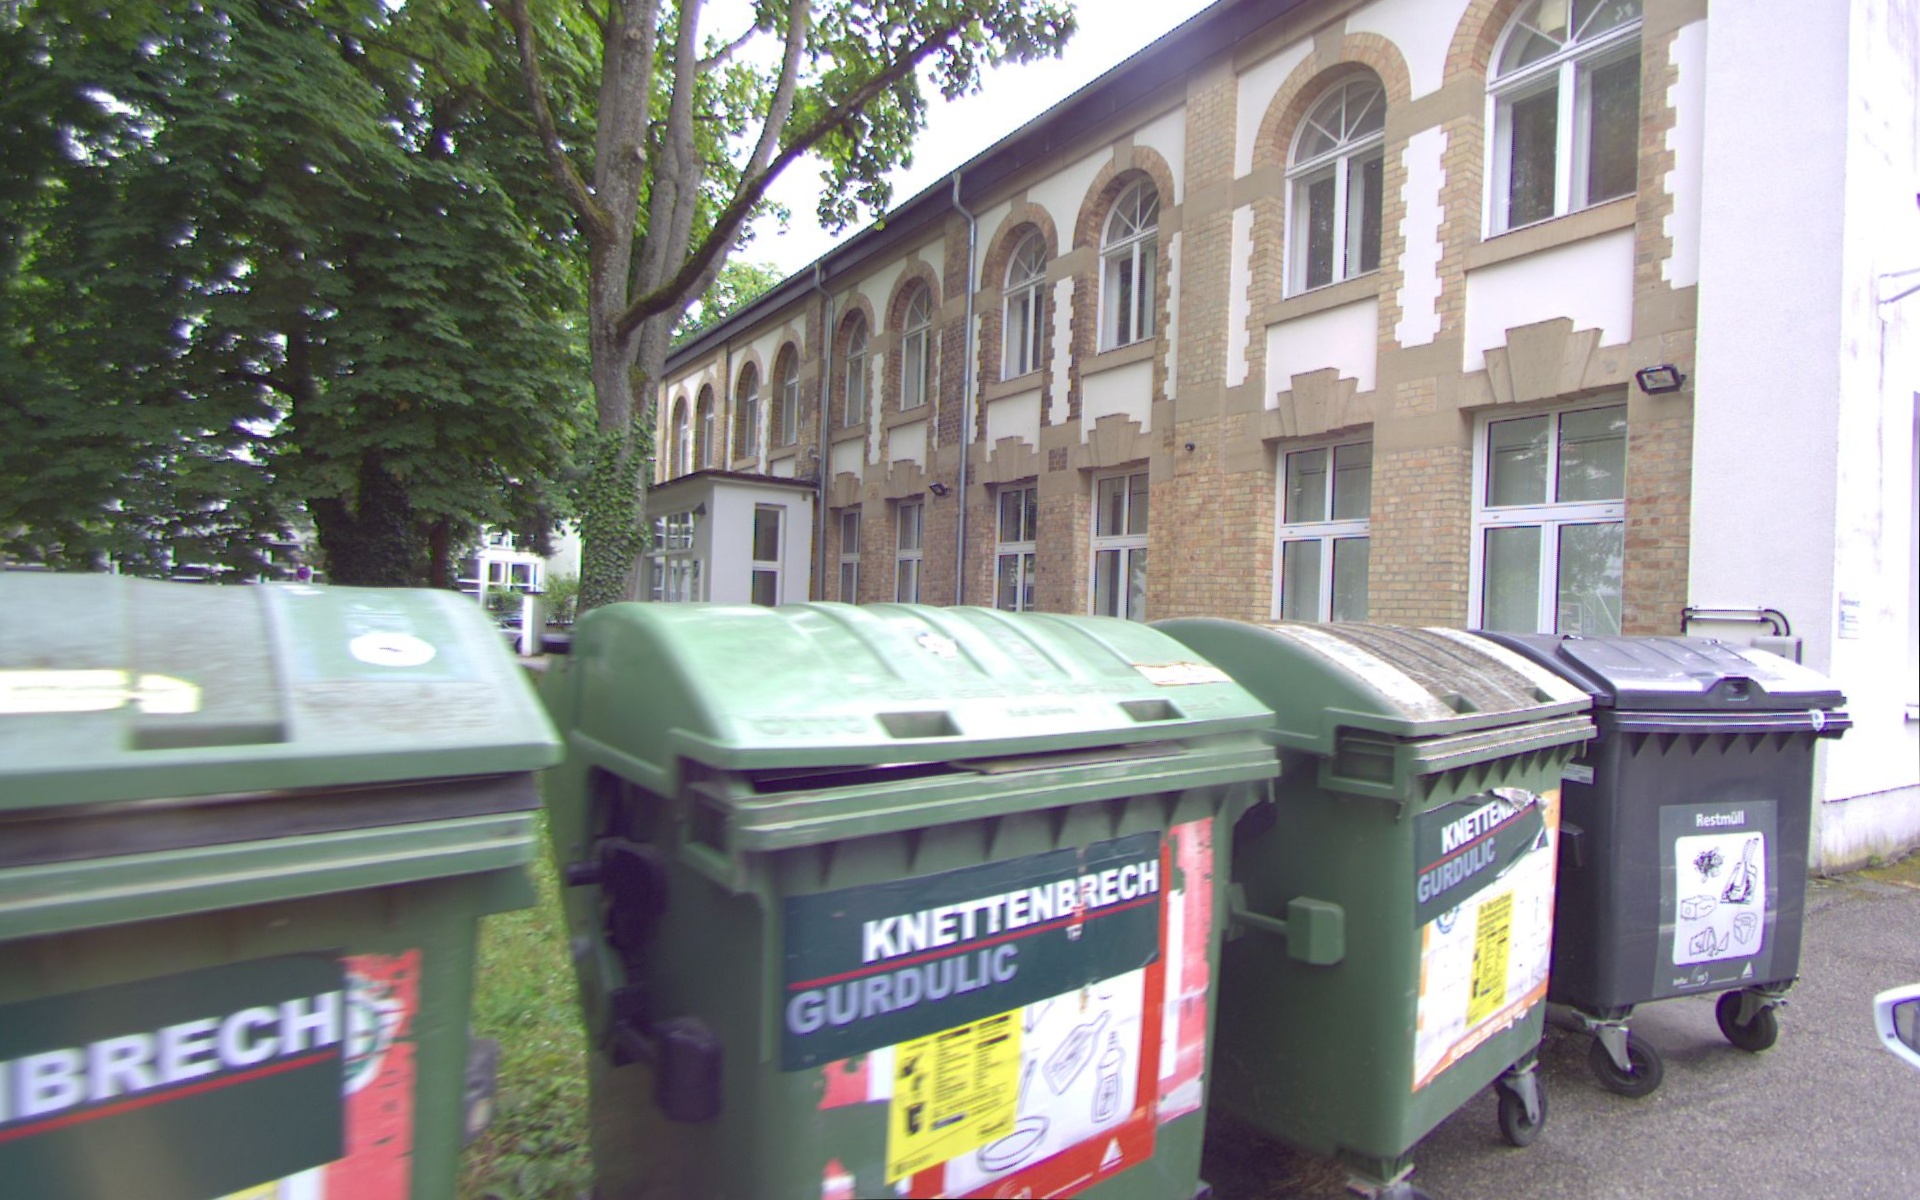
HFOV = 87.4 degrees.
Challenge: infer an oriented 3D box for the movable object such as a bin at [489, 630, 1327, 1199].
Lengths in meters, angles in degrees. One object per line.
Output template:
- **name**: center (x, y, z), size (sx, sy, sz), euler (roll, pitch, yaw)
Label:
- **movable object such as a bin**: center (-0.095, 0.733, 2.066), size (1.343, 1.281, 1.043), euler (2, -1, -40)

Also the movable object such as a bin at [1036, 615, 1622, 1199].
- **movable object such as a bin**: center (1.070, 0.713, 2.848), size (1.344, 1.281, 1.042), euler (2, -1, -43)

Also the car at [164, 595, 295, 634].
- **car**: center (-29.759, 0.583, 41.028), size (3.905, 1.369, 1.694), euler (4, 0, -17)

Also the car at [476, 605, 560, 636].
- **car**: center (-23.247, 1.066, 52.886), size (3.645, 1.404, 1.701), euler (3, 0, 4)

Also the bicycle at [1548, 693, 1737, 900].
- **bicycle**: center (4.296, 1.156, 6.269), size (1.811, 1.079, 0.392), euler (3, -1, -37)

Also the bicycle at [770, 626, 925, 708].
- **bicycle**: center (-1.643, 0.992, 14.878), size (2.194, 1.134, 0.614), euler (3, -1, -29)

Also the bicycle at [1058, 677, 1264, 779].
- **bicycle**: center (1.881, 1.152, 9.312), size (1.921, 0.824, 0.614), euler (2, -1, -29)

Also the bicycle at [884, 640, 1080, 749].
- **bicycle**: center (0.277, 1.061, 11.455), size (2.194, 1.134, 0.614), euler (3, -1, -29)

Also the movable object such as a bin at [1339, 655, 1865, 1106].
- **movable object such as a bin**: center (2.323, 0.886, 3.732), size (1.334, 1.281, 1.050), euler (2, 0, -22)

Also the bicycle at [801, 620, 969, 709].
- **bicycle**: center (-1.003, 0.877, 13.655), size (2.194, 1.134, 0.614), euler (3, -1, -29)

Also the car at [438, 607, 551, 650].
- **car**: center (-15.533, 0.955, 33.641), size (1.485, 1.320, 3.176), euler (1, -1, 25)

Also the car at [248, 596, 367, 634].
- **car**: center (-28.238, 0.645, 43.592), size (3.905, 1.369, 1.694), euler (4, 0, -17)

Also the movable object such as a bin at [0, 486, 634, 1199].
- **movable object such as a bin**: center (-1.273, 0.624, 1.201), size (1.343, 1.475, 1.043), euler (3, -1, -40)

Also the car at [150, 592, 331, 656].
- **car**: center (-18.837, 0.650, 26.454), size (1.453, 1.500, 3.561), euler (3, 0, 28)
